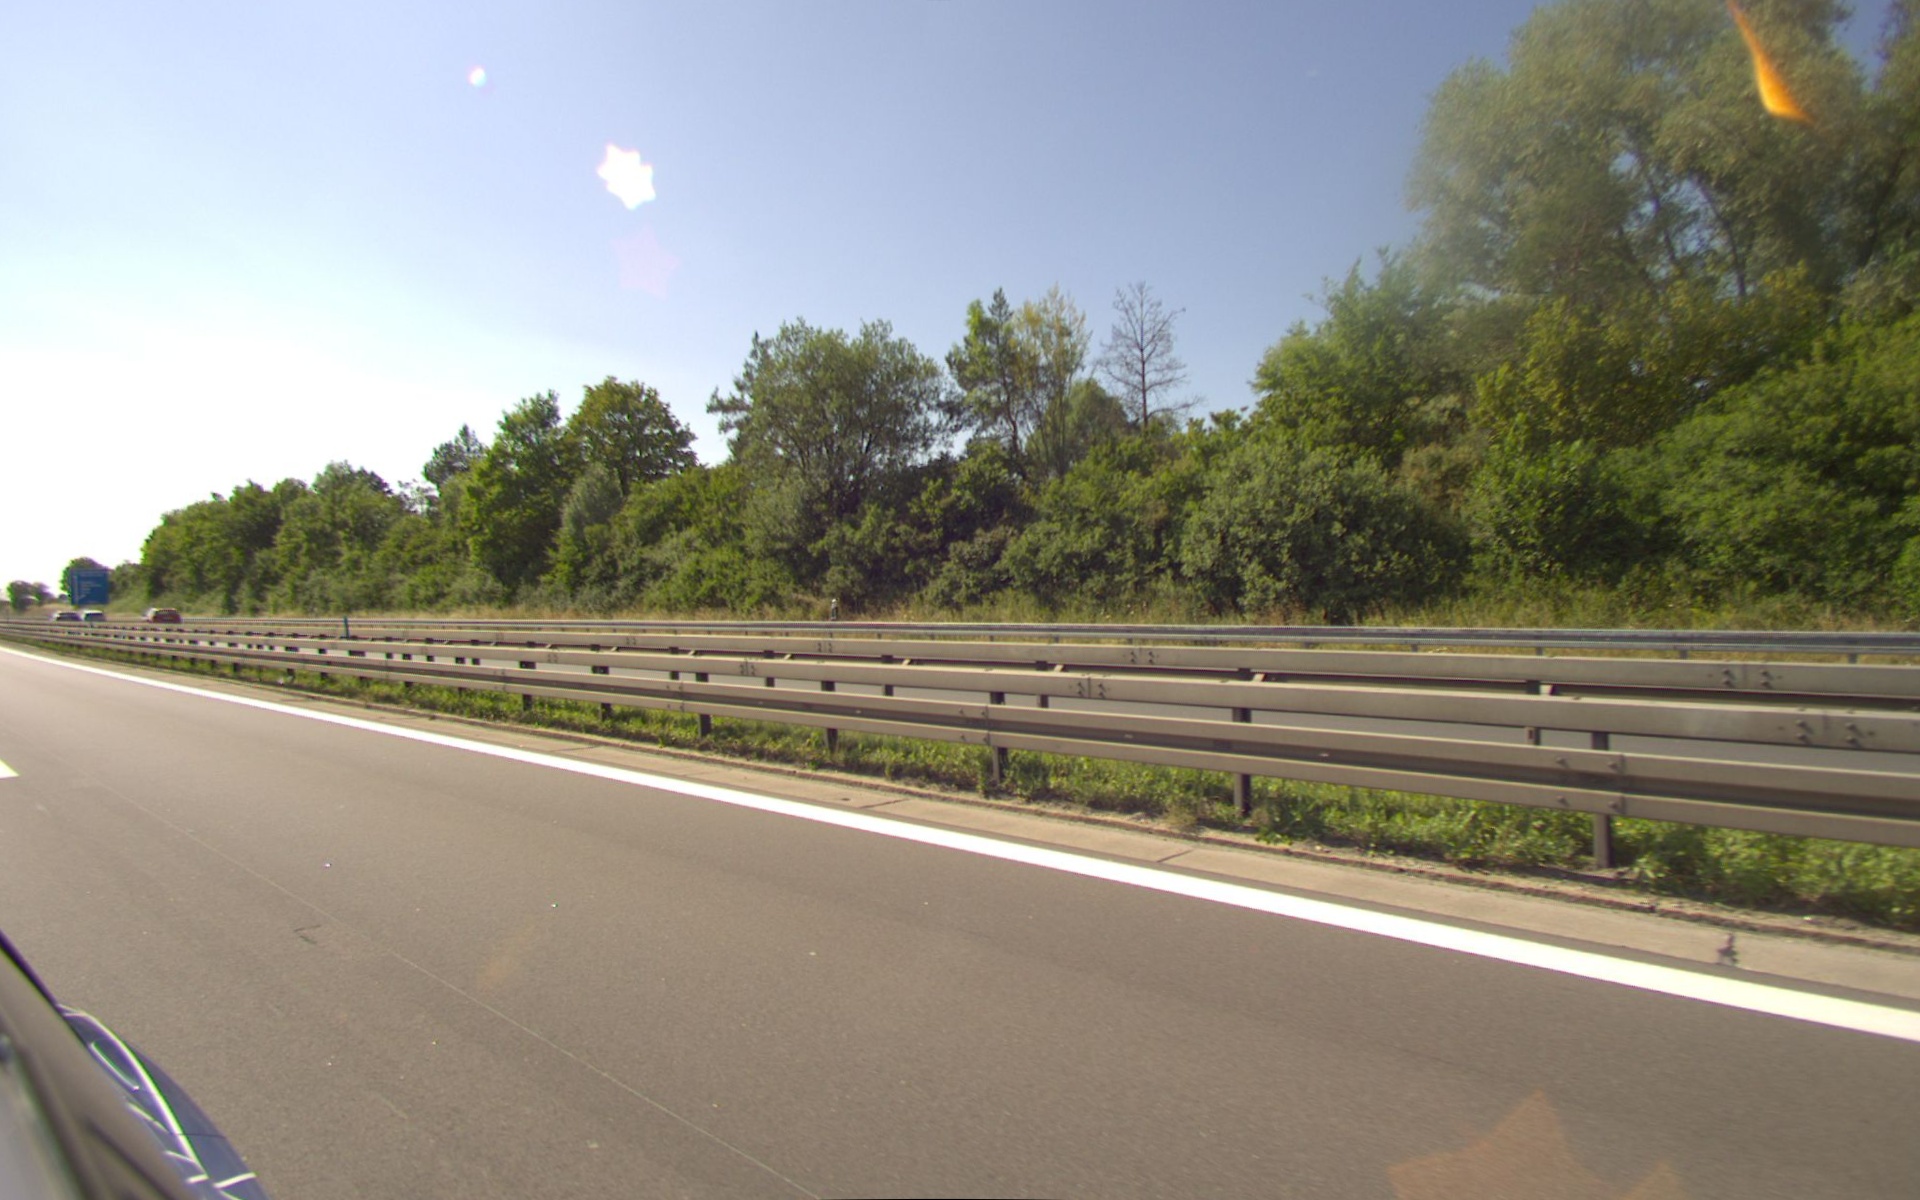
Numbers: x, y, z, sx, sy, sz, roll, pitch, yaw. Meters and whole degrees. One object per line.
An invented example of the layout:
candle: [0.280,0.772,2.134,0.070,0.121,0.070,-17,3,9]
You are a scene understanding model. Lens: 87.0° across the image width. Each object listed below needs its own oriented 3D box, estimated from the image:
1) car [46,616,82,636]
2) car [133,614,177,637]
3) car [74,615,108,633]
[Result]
car: [-71.172,2.075,80.392,4.538,1.504,1.632,-1,0,42]
car: [-56.023,1.754,70.412,4.538,1.504,1.632,-1,0,42]
car: [-82.036,2.289,95.521,4.637,1.624,1.972,-1,0,43]
